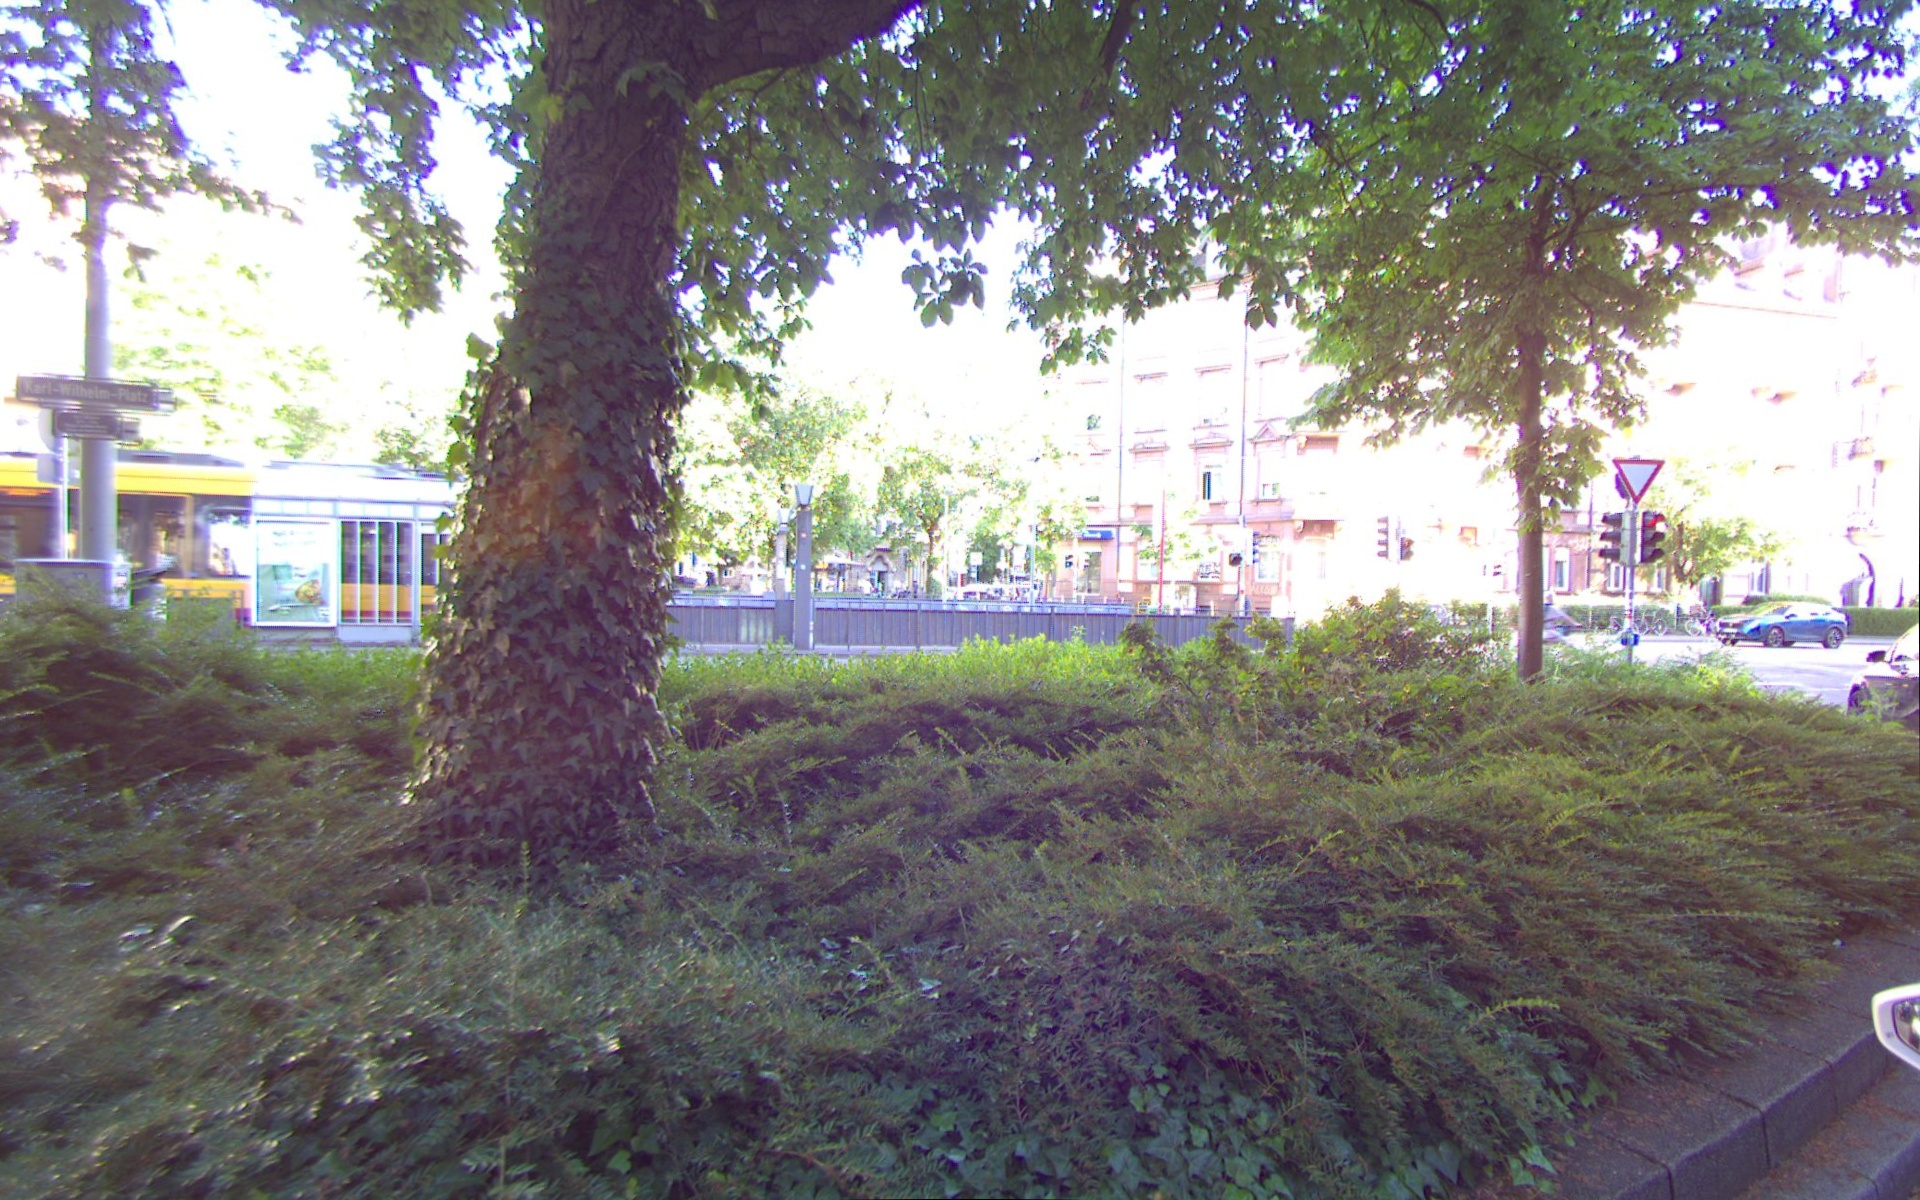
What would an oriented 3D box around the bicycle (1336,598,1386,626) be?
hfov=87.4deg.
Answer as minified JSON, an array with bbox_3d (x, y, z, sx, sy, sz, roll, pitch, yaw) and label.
[{"bbox_3d":[17.506,0.525,43.870,1.928,1.122,0.443,3,2,21],"label":"bicycle"}]

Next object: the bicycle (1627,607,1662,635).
[{"bbox_3d":[28.991,0.893,42.561,1.210,1.122,0.442,1,2,-7],"label":"bicycle"}]

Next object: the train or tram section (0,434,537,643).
[{"bbox_3d":[-15.018,-1.129,20.191,11.598,3.668,2.793,1,1,-13],"label":"train or tram section"}]

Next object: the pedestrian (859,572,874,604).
[{"bbox_3d":[-6.028,-0.770,64.656,0.700,2.040,0.740,2,0,11],"label":"pedestrian"}]

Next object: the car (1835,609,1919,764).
[{"bbox_3d":[10.811,0.880,10.352,1.762,1.562,3.855,0,0,26],"label":"car"}]

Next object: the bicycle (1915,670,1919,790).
[{"bbox_3d":[7.942,1.019,7.560,0.799,1.200,2.218,2,1,37],"label":"bicycle"}]

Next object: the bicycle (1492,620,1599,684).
[{"bbox_3d":[10.903,0.963,18.701,1.935,1.122,0.534,1,1,-17],"label":"bicycle"}]

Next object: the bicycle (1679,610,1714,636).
[{"bbox_3d":[31.518,0.993,42.963,1.211,1.052,0.442,1,2,-8],"label":"bicycle"}]

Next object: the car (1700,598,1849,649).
[{"bbox_3d":[29.956,0.846,36.996,4.334,1.672,1.943,1,2,-13],"label":"car"}]

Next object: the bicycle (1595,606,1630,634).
[{"bbox_3d":[27.591,0.854,42.484,1.211,1.122,0.442,2,2,-7],"label":"bicycle"}]

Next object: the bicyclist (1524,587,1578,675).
[{"bbox_3d":[11.011,0.572,18.724,0.663,1.619,0.528,1,1,-16],"label":"bicyclist"}]
